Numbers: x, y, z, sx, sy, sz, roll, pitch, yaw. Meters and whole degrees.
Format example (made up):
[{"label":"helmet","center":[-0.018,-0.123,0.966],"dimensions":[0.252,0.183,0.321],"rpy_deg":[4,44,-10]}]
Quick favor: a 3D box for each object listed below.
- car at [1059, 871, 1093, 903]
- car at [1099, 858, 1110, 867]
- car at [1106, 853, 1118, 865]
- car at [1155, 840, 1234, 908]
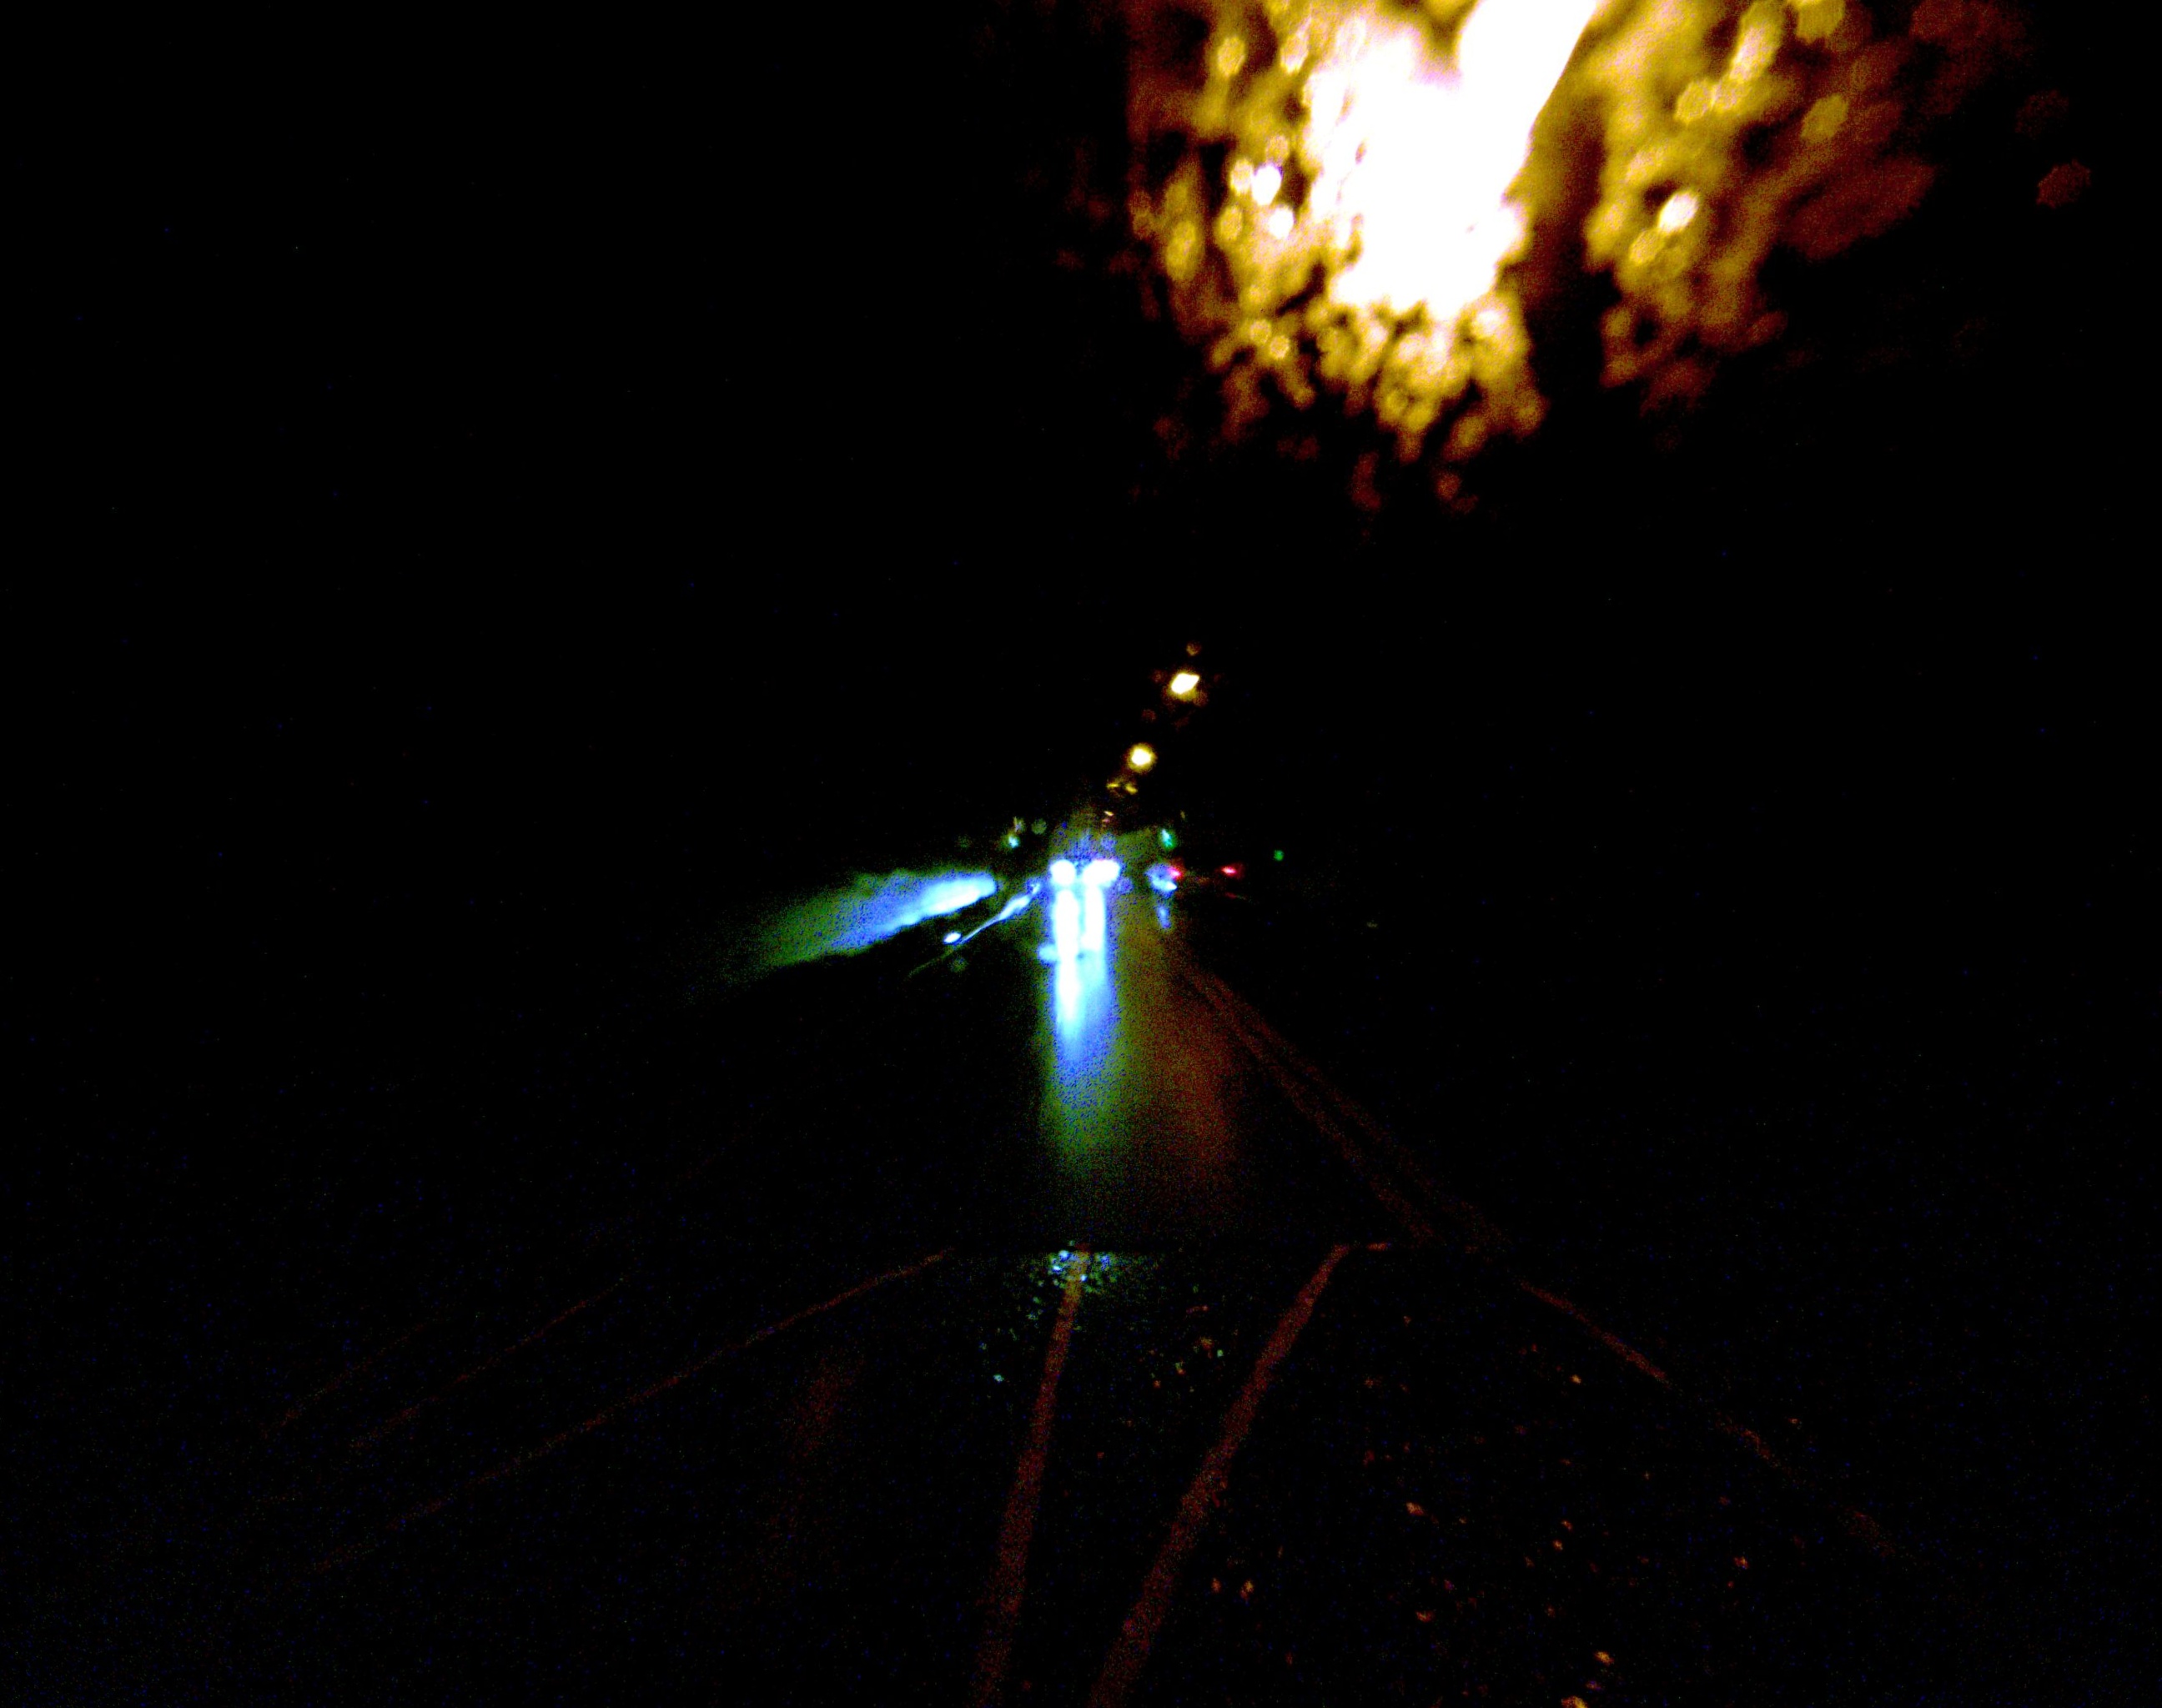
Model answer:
[{"label":"car","center":[-0.211,1.661,38.795],"dimensions":[1.627,1.487,3.585],"rpy_deg":[-1,0,1]},{"label":"car","center":[4.092,1.488,133.413],"dimensions":[1.753,1.471,4.476],"rpy_deg":[-1,0,1]},{"label":"car","center":[4.181,0.682,102.361],"dimensions":[1.524,1.540,4.055],"rpy_deg":[-1,-1,1]},{"label":"car","center":[3.410,0.584,23.655],"dimensions":[1.845,1.888,4.608],"rpy_deg":[-1,0,1]}]
